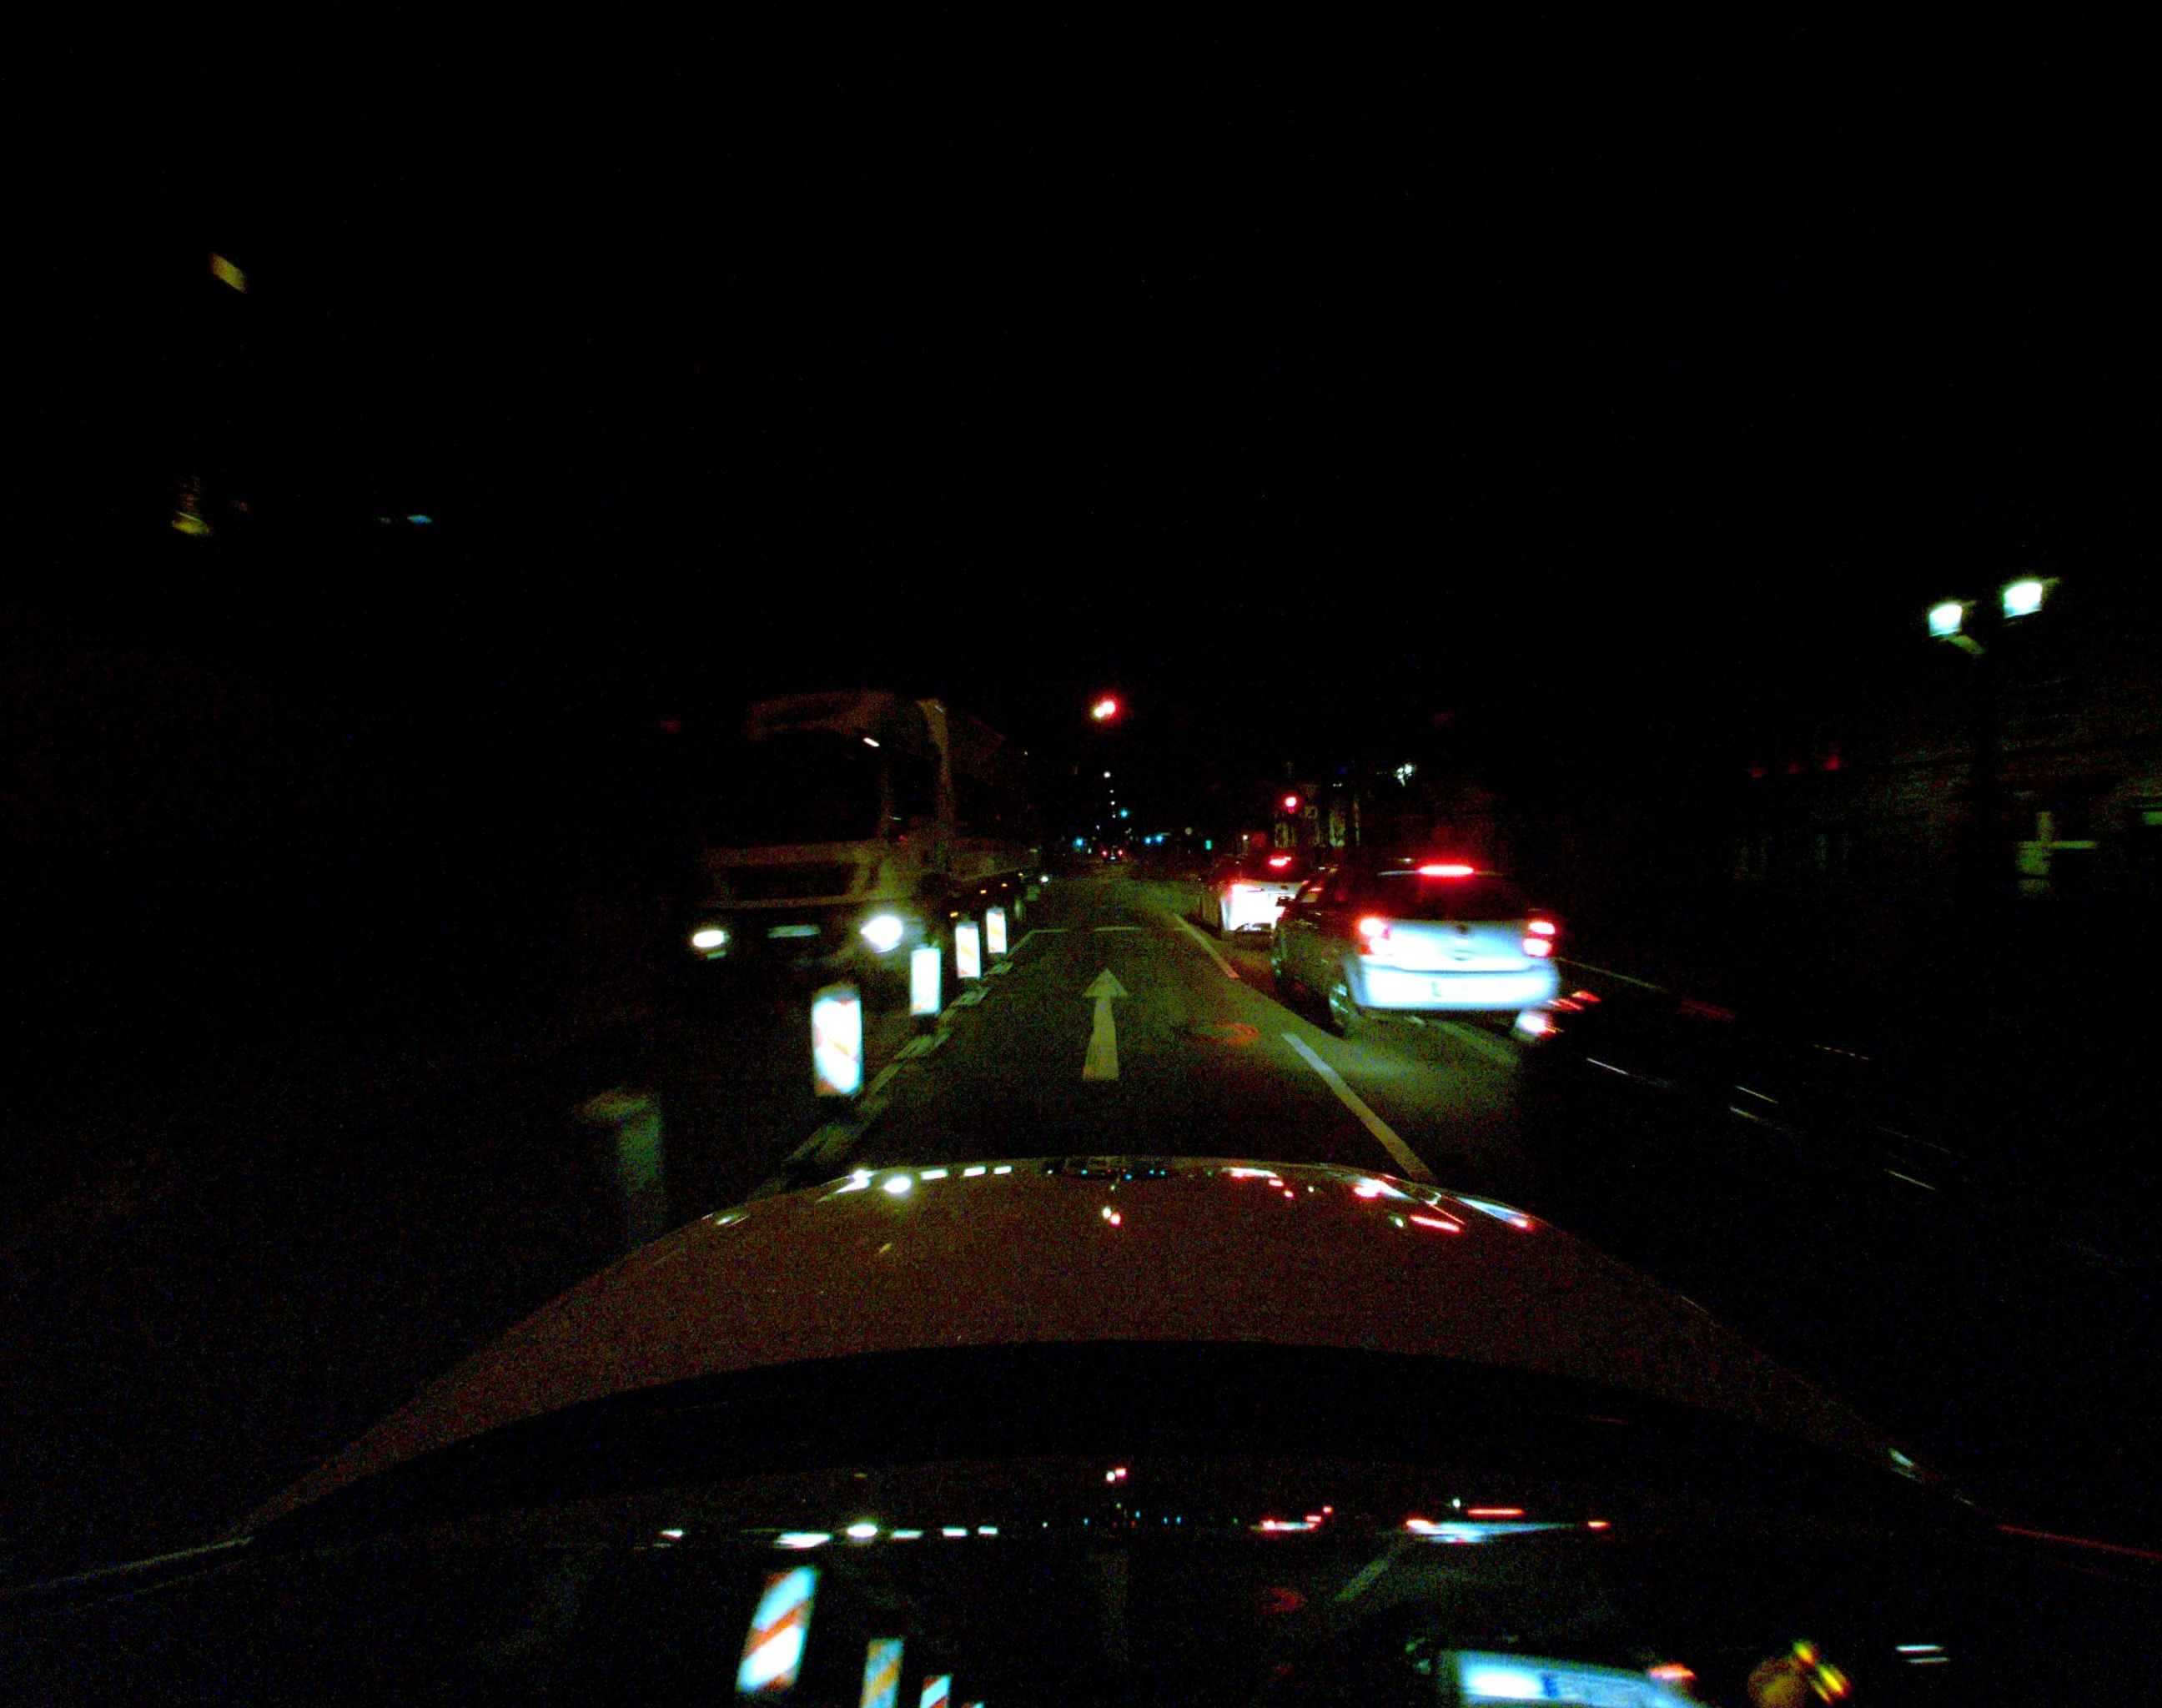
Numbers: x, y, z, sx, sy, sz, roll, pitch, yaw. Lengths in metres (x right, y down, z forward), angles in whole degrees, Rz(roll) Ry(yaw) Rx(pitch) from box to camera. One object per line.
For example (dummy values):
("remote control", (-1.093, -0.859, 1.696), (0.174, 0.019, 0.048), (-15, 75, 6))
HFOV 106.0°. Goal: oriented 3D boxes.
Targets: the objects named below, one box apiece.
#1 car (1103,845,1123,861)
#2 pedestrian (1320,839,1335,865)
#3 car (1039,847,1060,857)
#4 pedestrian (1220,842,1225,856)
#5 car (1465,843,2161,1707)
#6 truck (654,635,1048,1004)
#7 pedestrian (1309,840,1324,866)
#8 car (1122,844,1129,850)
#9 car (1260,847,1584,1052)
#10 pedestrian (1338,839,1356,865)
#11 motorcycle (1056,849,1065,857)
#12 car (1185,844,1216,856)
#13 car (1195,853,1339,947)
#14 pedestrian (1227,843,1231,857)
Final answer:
("car", (3.271, -0.095, 84.588), (1.987, 1.640, 4.000), (-2, 0, 1))
("pedestrian", (17.195, -0.115, 56.809), (0.736, 1.769, 0.907), (-2, 0, 2))
("car", (-5.152, -0.341, 132.494), (1.814, 1.486, 3.962), (-2, 0, -29))
("pedestrian", (20.014, -0.710, 115.266), (0.529, 2.013, 0.670), (-2, 0, 1))
("car", (2.804, 0.738, 1.911), (1.797, 1.494, 4.733), (1, 0, 3))
("truck", (-2.625, -0.366, 13.545), (2.742, 3.718, 10.127), (-3, 0, 5))
("pedestrian", (16.378, -0.065, 56.693), (0.711, 1.769, 0.907), (-2, 0, 2))
("car", (12.947, -2.051, 237.863), (1.987, 1.596, 3.999), (-2, 0, 0))
("car", (2.933, 0.689, 7.971), (1.631, 1.494, 4.002), (0, 0, 2))
("pedestrian", (18.554, -0.147, 56.773), (0.897, 1.769, 0.907), (-2, 0, 2))
("motorcycle", (-3.227, -0.157, 129.526), (0.783, 1.204, 2.436), (-2, 0, -16))
("car", (16.190, -0.553, 110.332), (3.968, 1.386, 1.774), (-2, 0, 5))
("car", (3.181, 0.703, 14.742), (1.723, 1.435, 4.212), (0, 0, 1))
("pedestrian", (21.081, -0.585, 115.907), (0.486, 2.013, 0.551), (-2, 0, 1))
